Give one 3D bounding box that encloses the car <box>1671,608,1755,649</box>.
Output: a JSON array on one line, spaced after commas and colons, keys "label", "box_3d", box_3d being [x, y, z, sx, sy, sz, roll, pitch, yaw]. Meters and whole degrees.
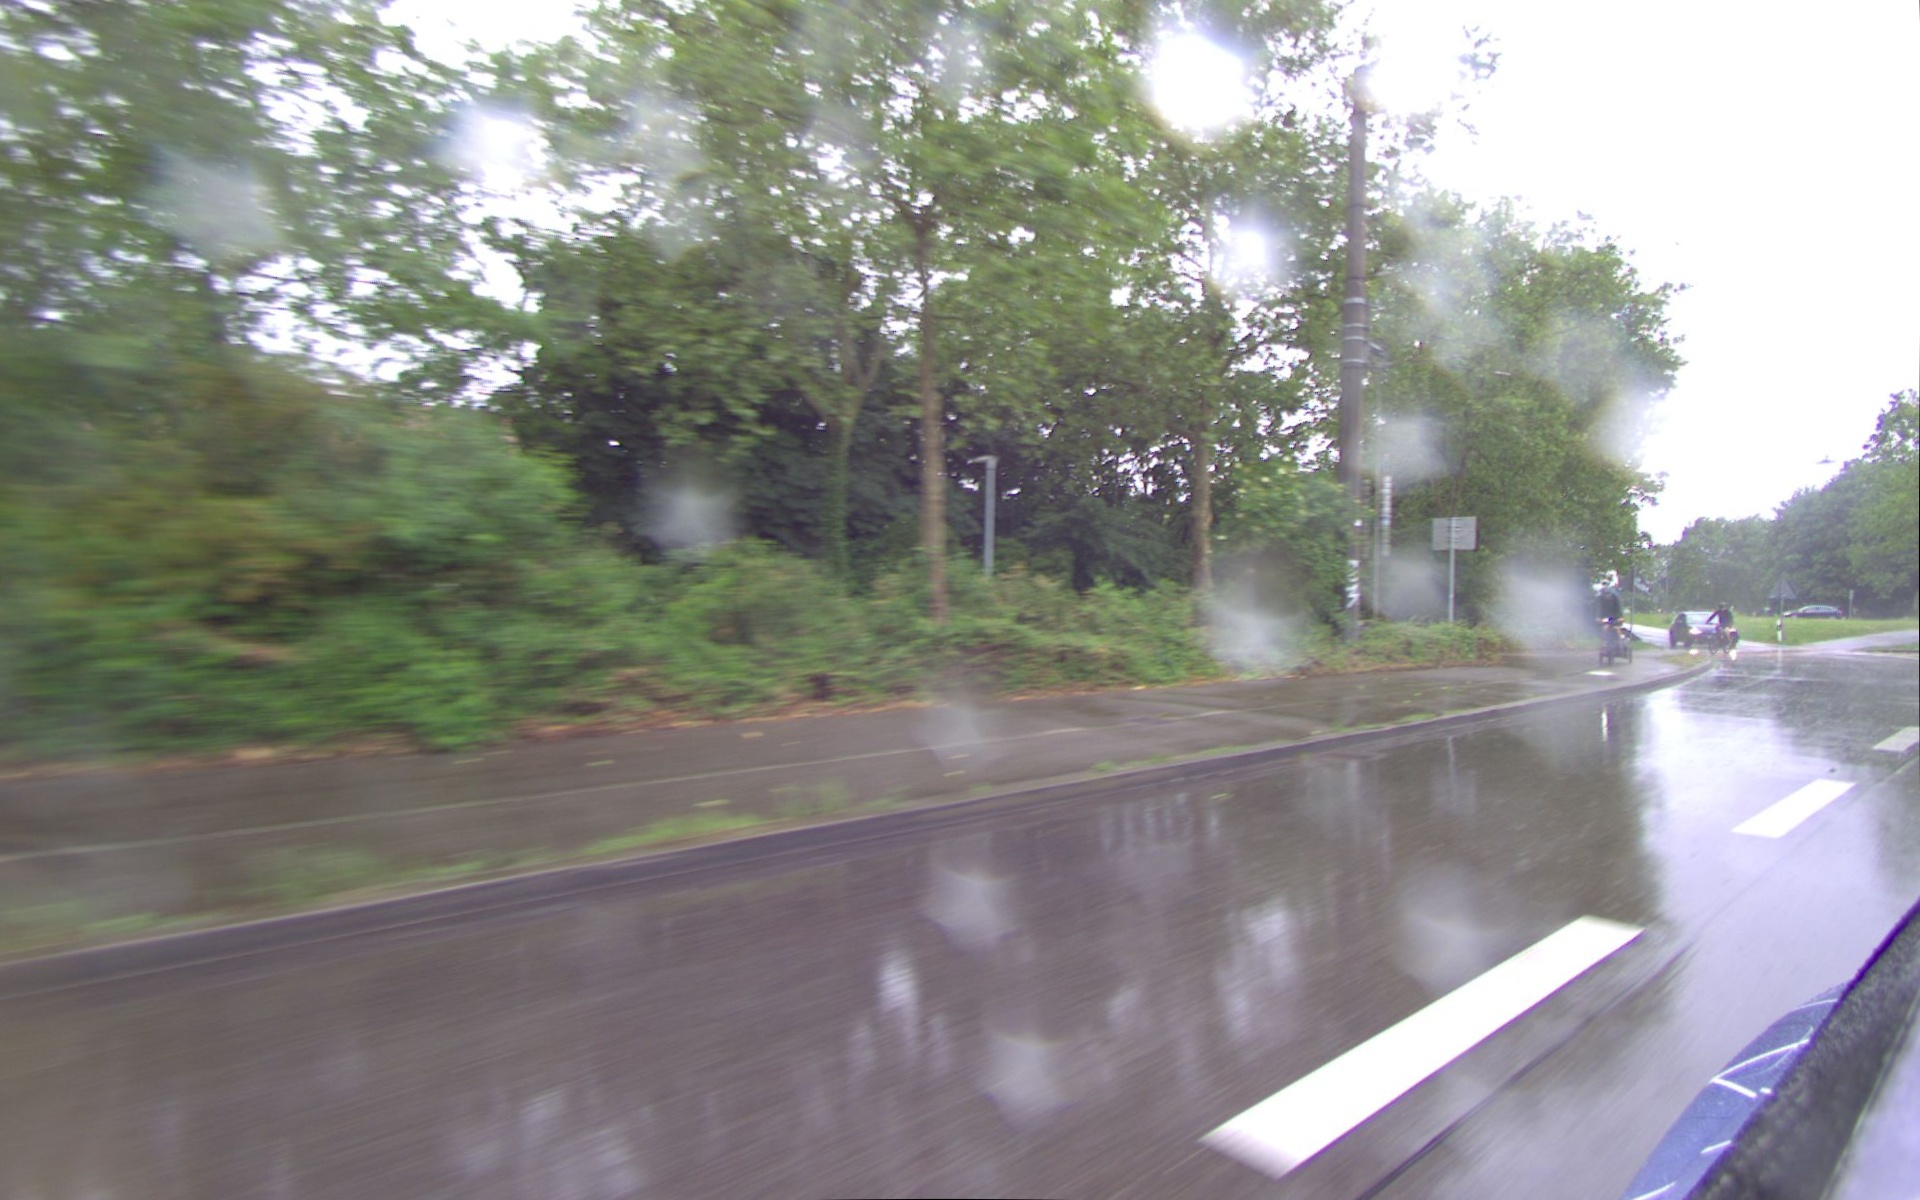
[{"label": "car", "box_3d": [31.512, 1.145, 42.476, 1.848, 1.556, 4.481, 0, 1, 23]}]
